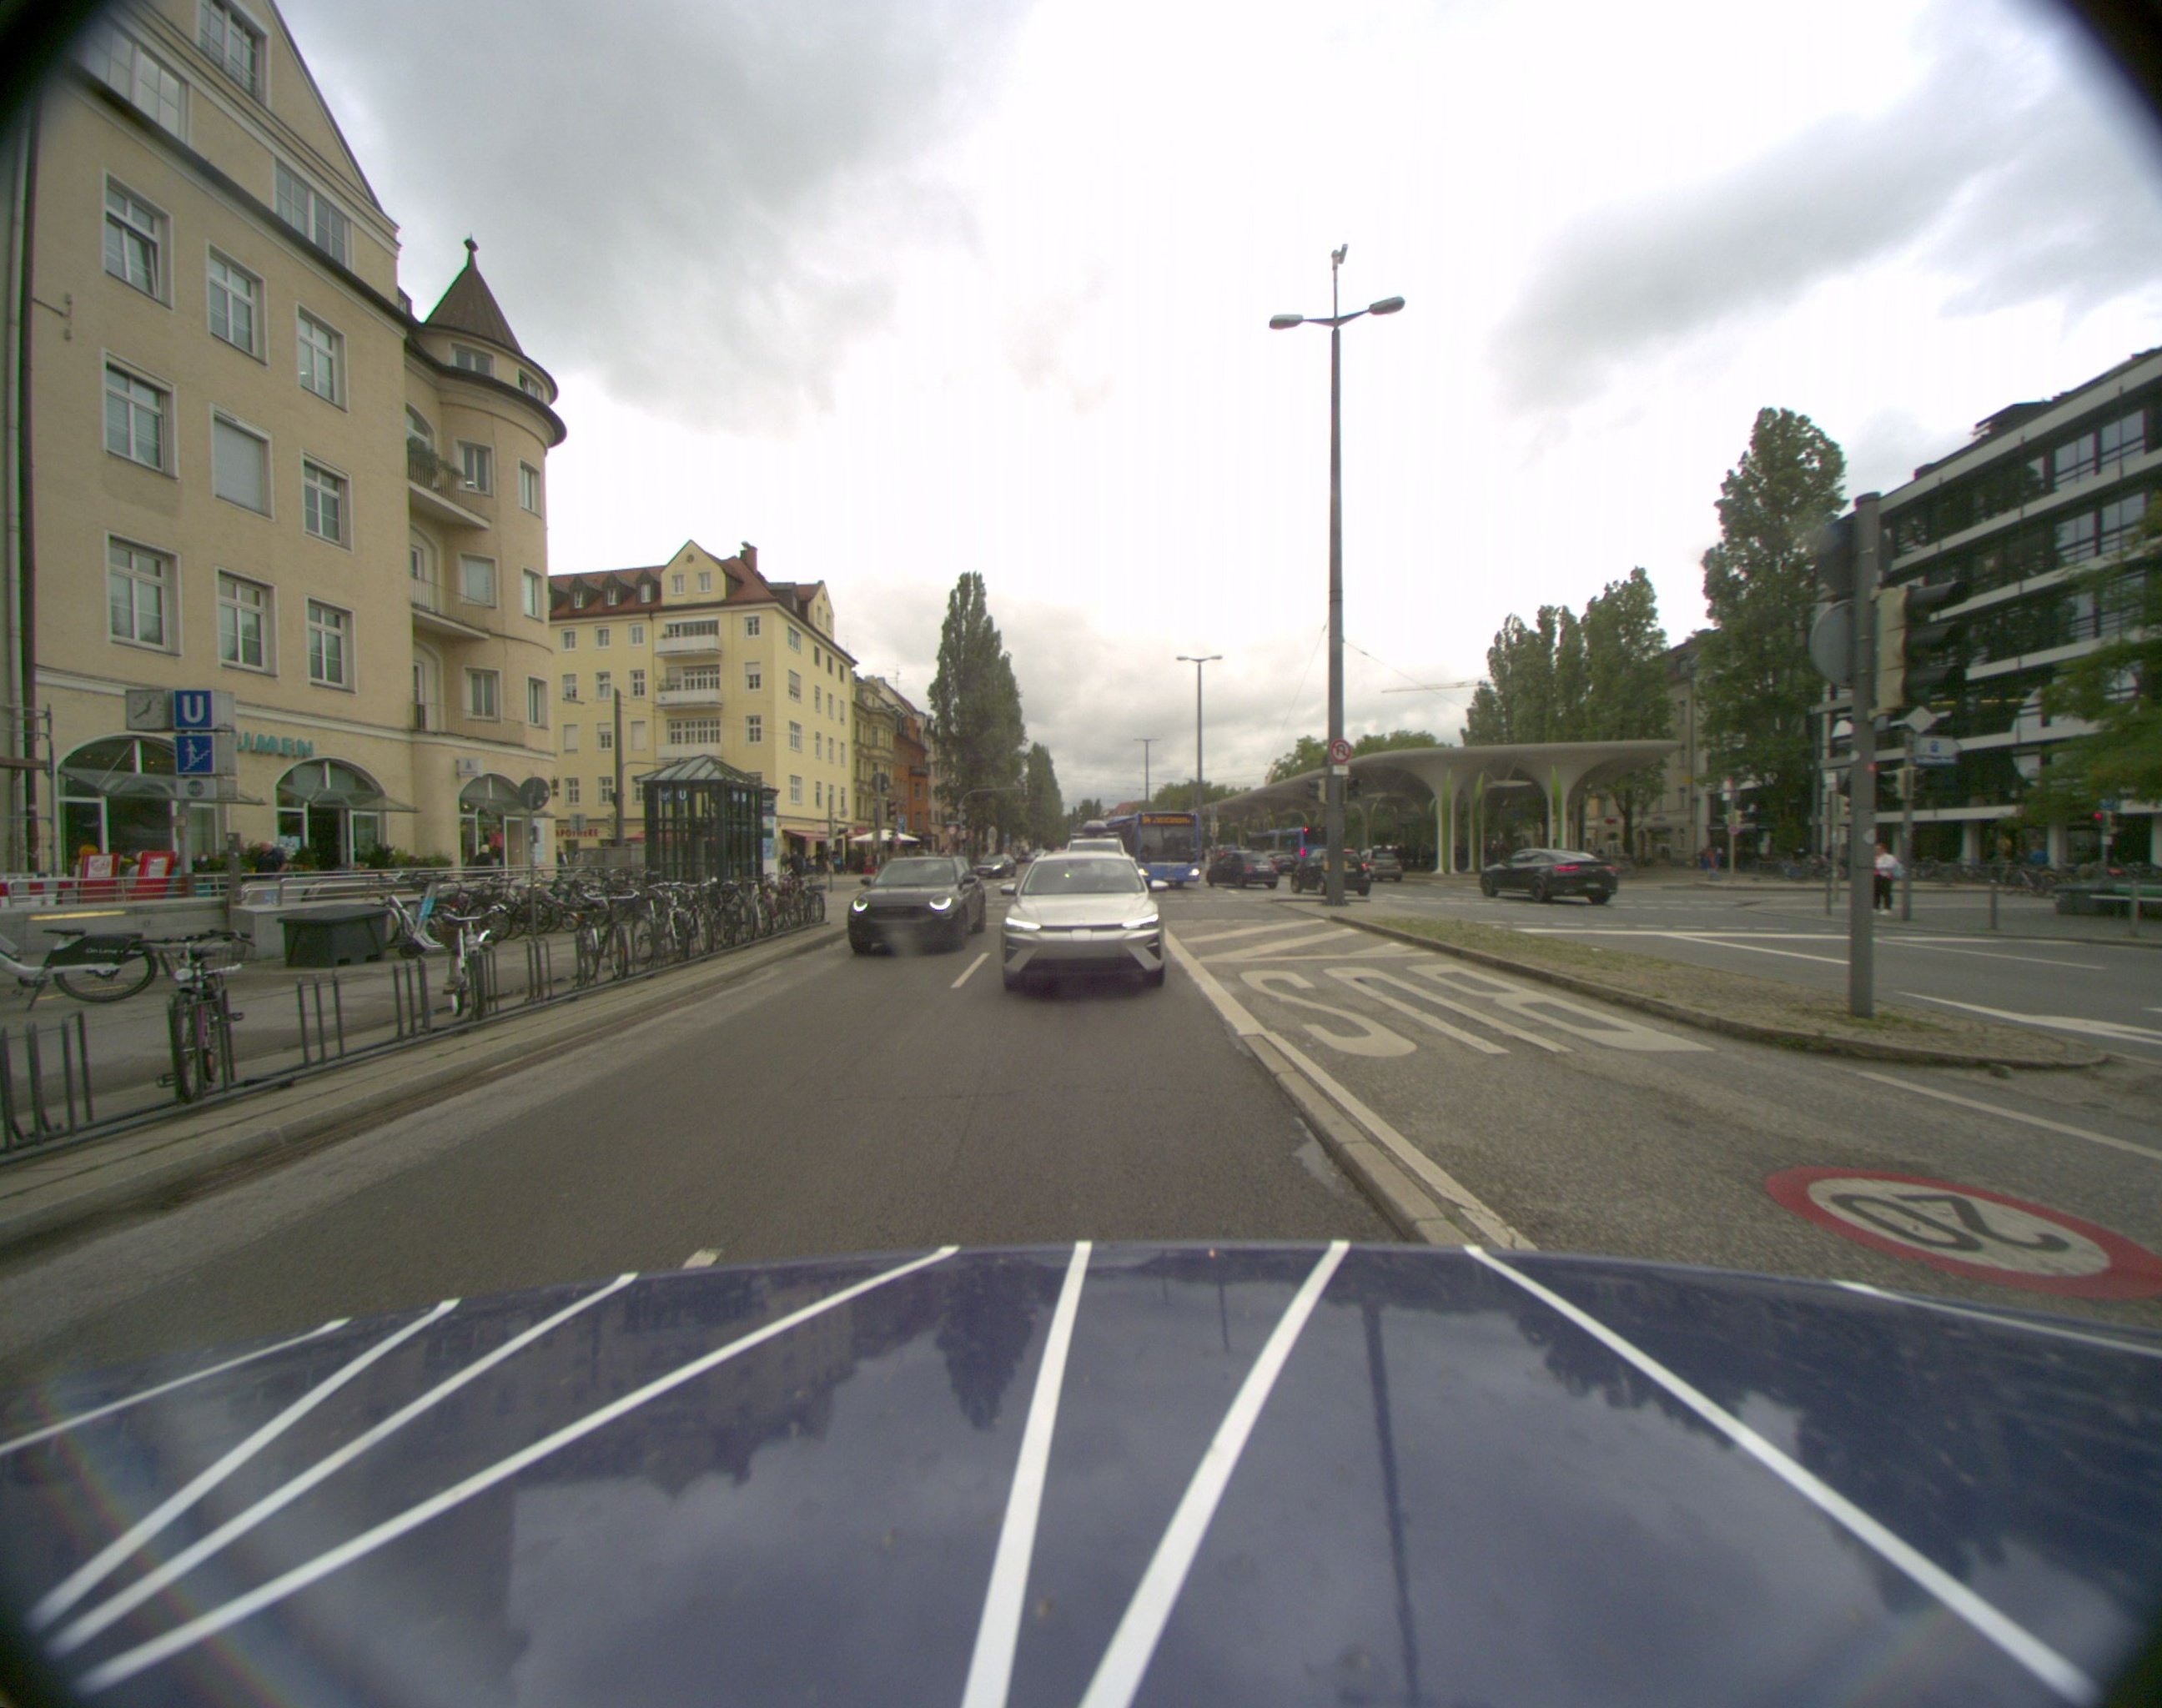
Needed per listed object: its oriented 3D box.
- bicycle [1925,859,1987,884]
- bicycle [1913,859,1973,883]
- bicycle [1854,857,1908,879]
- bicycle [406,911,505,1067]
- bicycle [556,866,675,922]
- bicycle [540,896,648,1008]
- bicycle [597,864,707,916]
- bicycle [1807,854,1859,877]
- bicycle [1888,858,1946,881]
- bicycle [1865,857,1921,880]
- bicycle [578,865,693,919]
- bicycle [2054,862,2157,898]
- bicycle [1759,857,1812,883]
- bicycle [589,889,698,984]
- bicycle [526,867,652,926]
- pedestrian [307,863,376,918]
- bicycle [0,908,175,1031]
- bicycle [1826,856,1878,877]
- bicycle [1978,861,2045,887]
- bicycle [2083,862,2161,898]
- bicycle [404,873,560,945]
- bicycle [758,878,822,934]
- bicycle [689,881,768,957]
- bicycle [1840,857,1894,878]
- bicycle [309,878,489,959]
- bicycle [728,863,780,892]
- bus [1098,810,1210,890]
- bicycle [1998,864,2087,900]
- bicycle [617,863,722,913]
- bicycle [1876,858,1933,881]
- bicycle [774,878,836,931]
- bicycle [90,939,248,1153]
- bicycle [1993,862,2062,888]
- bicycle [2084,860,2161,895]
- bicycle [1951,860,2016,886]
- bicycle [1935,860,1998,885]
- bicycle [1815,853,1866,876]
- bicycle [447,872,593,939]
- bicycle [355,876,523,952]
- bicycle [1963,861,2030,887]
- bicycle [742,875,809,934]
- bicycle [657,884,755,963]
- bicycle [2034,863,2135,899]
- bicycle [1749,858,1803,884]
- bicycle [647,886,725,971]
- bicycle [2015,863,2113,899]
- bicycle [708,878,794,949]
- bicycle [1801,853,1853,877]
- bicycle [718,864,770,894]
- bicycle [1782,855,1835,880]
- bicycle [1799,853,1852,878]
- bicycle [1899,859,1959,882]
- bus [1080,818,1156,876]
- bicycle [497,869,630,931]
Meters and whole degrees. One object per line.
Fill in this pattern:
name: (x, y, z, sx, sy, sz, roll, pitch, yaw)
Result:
bicycle: (41.355, 0.826, 35.930, 2.073, 1.127, 0.561, 0, 1, 7)
bicycle: (41.441, 0.810, 36.541, 2.073, 1.127, 0.561, 0, 1, 7)
bicycle: (41.715, 0.733, 39.623, 2.073, 1.127, 0.561, 0, 1, 7)
bicycle: (-5.691, 1.139, 6.876, 0.490, 1.131, 1.790, -3, 2, -45)
bicycle: (-10.377, 0.885, 16.969, 2.317, 1.220, 0.628, 0, 1, 3)
bicycle: (-5.753, 1.096, 8.937, 1.790, 1.131, 0.490, -1, 2, 39)
bicycle: (-10.292, 0.854, 18.264, 2.317, 1.220, 0.628, 0, 1, 3)
bicycle: (35.592, 0.531, 35.966, 0.474, 1.091, 1.671, -1, 1, -33)
bicycle: (41.561, 0.779, 37.790, 2.073, 1.127, 0.561, 0, 1, 7)
bicycle: (41.680, 0.748, 39.005, 2.073, 1.127, 0.561, 0, 1, 7)
bicycle: (-10.308, 0.869, 17.601, 2.317, 1.220, 0.628, 0, 1, 3)
bicycle: (30.724, 0.758, 22.840, 0.510, 0.992, 1.925, 0, 1, 2)
bicycle: (30.853, 0.679, 33.297, 0.473, 1.091, 1.672, -1, 1, -23)
bicycle: (-5.955, 1.073, 10.300, 1.790, 1.131, 0.591, -1, 2, 37)
bicycle: (-10.525, 0.905, 16.293, 2.317, 1.220, 0.628, 0, 1, 3)
pedestrian: (-17.675, 0.862, 18.182, 0.701, 1.238, 0.919, 0, 2, 0)
bicycle: (-10.261, 1.134, 7.436, 0.409, 1.071, 1.765, 2, 2, 41)
bicycle: (41.769, 0.697, 41.200, 2.073, 1.127, 0.561, 0, 1, 7)
bicycle: (40.937, 0.894, 33.441, 2.073, 1.127, 0.561, 0, 1, 7)
bicycle: (31.266, 0.746, 22.567, 0.510, 0.992, 1.925, 0, 1, 2)
bicycle: (-10.594, 0.969, 13.474, 2.317, 1.220, 0.628, 0, 1, 3)
bicycle: (-5.888, 1.059, 15.314, 1.848, 1.053, 0.398, -5, -1, 44)
bicycle: (-5.785, 1.021, 12.423, 1.673, 1.131, 0.479, -1, 2, 40)
bicycle: (41.741, 0.717, 40.360, 2.073, 1.127, 0.561, 0, 1, 7)
bicycle: (-10.814, 1.007, 12.084, 2.367, 1.220, 0.628, 0, 1, 3)
bicycle: (-12.747, 0.919, 29.623, 1.822, 1.121, 0.610, 0, 0, 13)
bus: (2.893, -0.264, 34.228, 2.943, 2.927, 11.205, -1, 1, -5)
bicycle: (28.888, 0.818, 22.868, 0.510, 0.992, 1.751, 0, 1, 2)
bicycle: (-10.259, 0.838, 18.982, 2.317, 1.220, 0.628, 0, 1, 3)
bicycle: (41.610, 0.764, 38.394, 2.073, 1.127, 0.561, 0, 1, 7)
bicycle: (-5.845, 1.074, 16.017, 1.848, 1.053, 0.398, -5, -1, 44)
bicycle: (-5.761, 1.117, 4.869, 0.398, 1.053, 1.848, -4, -1, -44)
bicycle: (40.876, 0.910, 32.827, 2.073, 1.127, 0.561, 0, 1, 7)
bicycle: (31.992, 0.711, 23.081, 0.510, 0.992, 1.925, 0, 1, 2)
bicycle: (41.122, 0.862, 34.635, 2.073, 1.127, 0.561, 0, 1, 7)
bicycle: (41.175, 0.845, 35.343, 2.073, 1.127, 0.561, 0, 1, 7)
bicycle: (36.653, 0.503, 36.676, 0.474, 1.091, 1.671, -1, 1, -33)
bicycle: (-10.620, 0.971, 14.410, 2.342, 1.220, 0.628, 0, 1, 3)
bicycle: (-10.752, 0.990, 12.762, 2.342, 1.220, 0.628, 0, 1, 3)
bicycle: (40.996, 0.879, 34.041, 2.073, 1.127, 0.561, 0, 1, 7)
bicycle: (-5.882, 0.979, 14.562, 1.848, 1.053, 0.398, -5, -1, 44)
bicycle: (-5.787, 1.037, 11.691, 1.673, 1.131, 0.479, -1, 2, 31)
bicycle: (30.090, 0.780, 22.830, 0.510, 0.992, 1.925, 0, 1, 2)
bicycle: (30.119, 0.711, 32.957, 0.473, 1.091, 1.672, -1, 1, -23)
bicycle: (-5.773, 1.051, 11.067, 1.521, 1.131, 0.349, -1, 2, 37)
bicycle: (29.528, 0.798, 22.874, 0.510, 0.992, 1.925, 0, 1, 2)
bicycle: (-5.746, 1.002, 13.197, 1.780, 1.131, 0.479, -1, 2, 35)
bicycle: (34.788, 0.500, 35.453, 0.473, 1.091, 1.672, -1, 1, -23)
bicycle: (-12.851, 0.936, 28.977, 1.822, 1.121, 0.610, 0, 0, 13)
bicycle: (32.938, 0.584, 34.435, 0.473, 1.091, 1.672, -1, 1, -23)
bicycle: (34.243, 0.528, 34.989, 0.473, 1.091, 1.672, -1, 1, -23)
bicycle: (41.507, 0.793, 37.208, 2.073, 1.127, 0.561, 0, 1, 7)
bus: (1.938, -0.480, 45.399, 2.943, 2.927, 11.205, -1, 1, -5)
bicycle: (-10.563, 0.923, 15.538, 2.330, 1.220, 0.628, 0, 1, 3)
